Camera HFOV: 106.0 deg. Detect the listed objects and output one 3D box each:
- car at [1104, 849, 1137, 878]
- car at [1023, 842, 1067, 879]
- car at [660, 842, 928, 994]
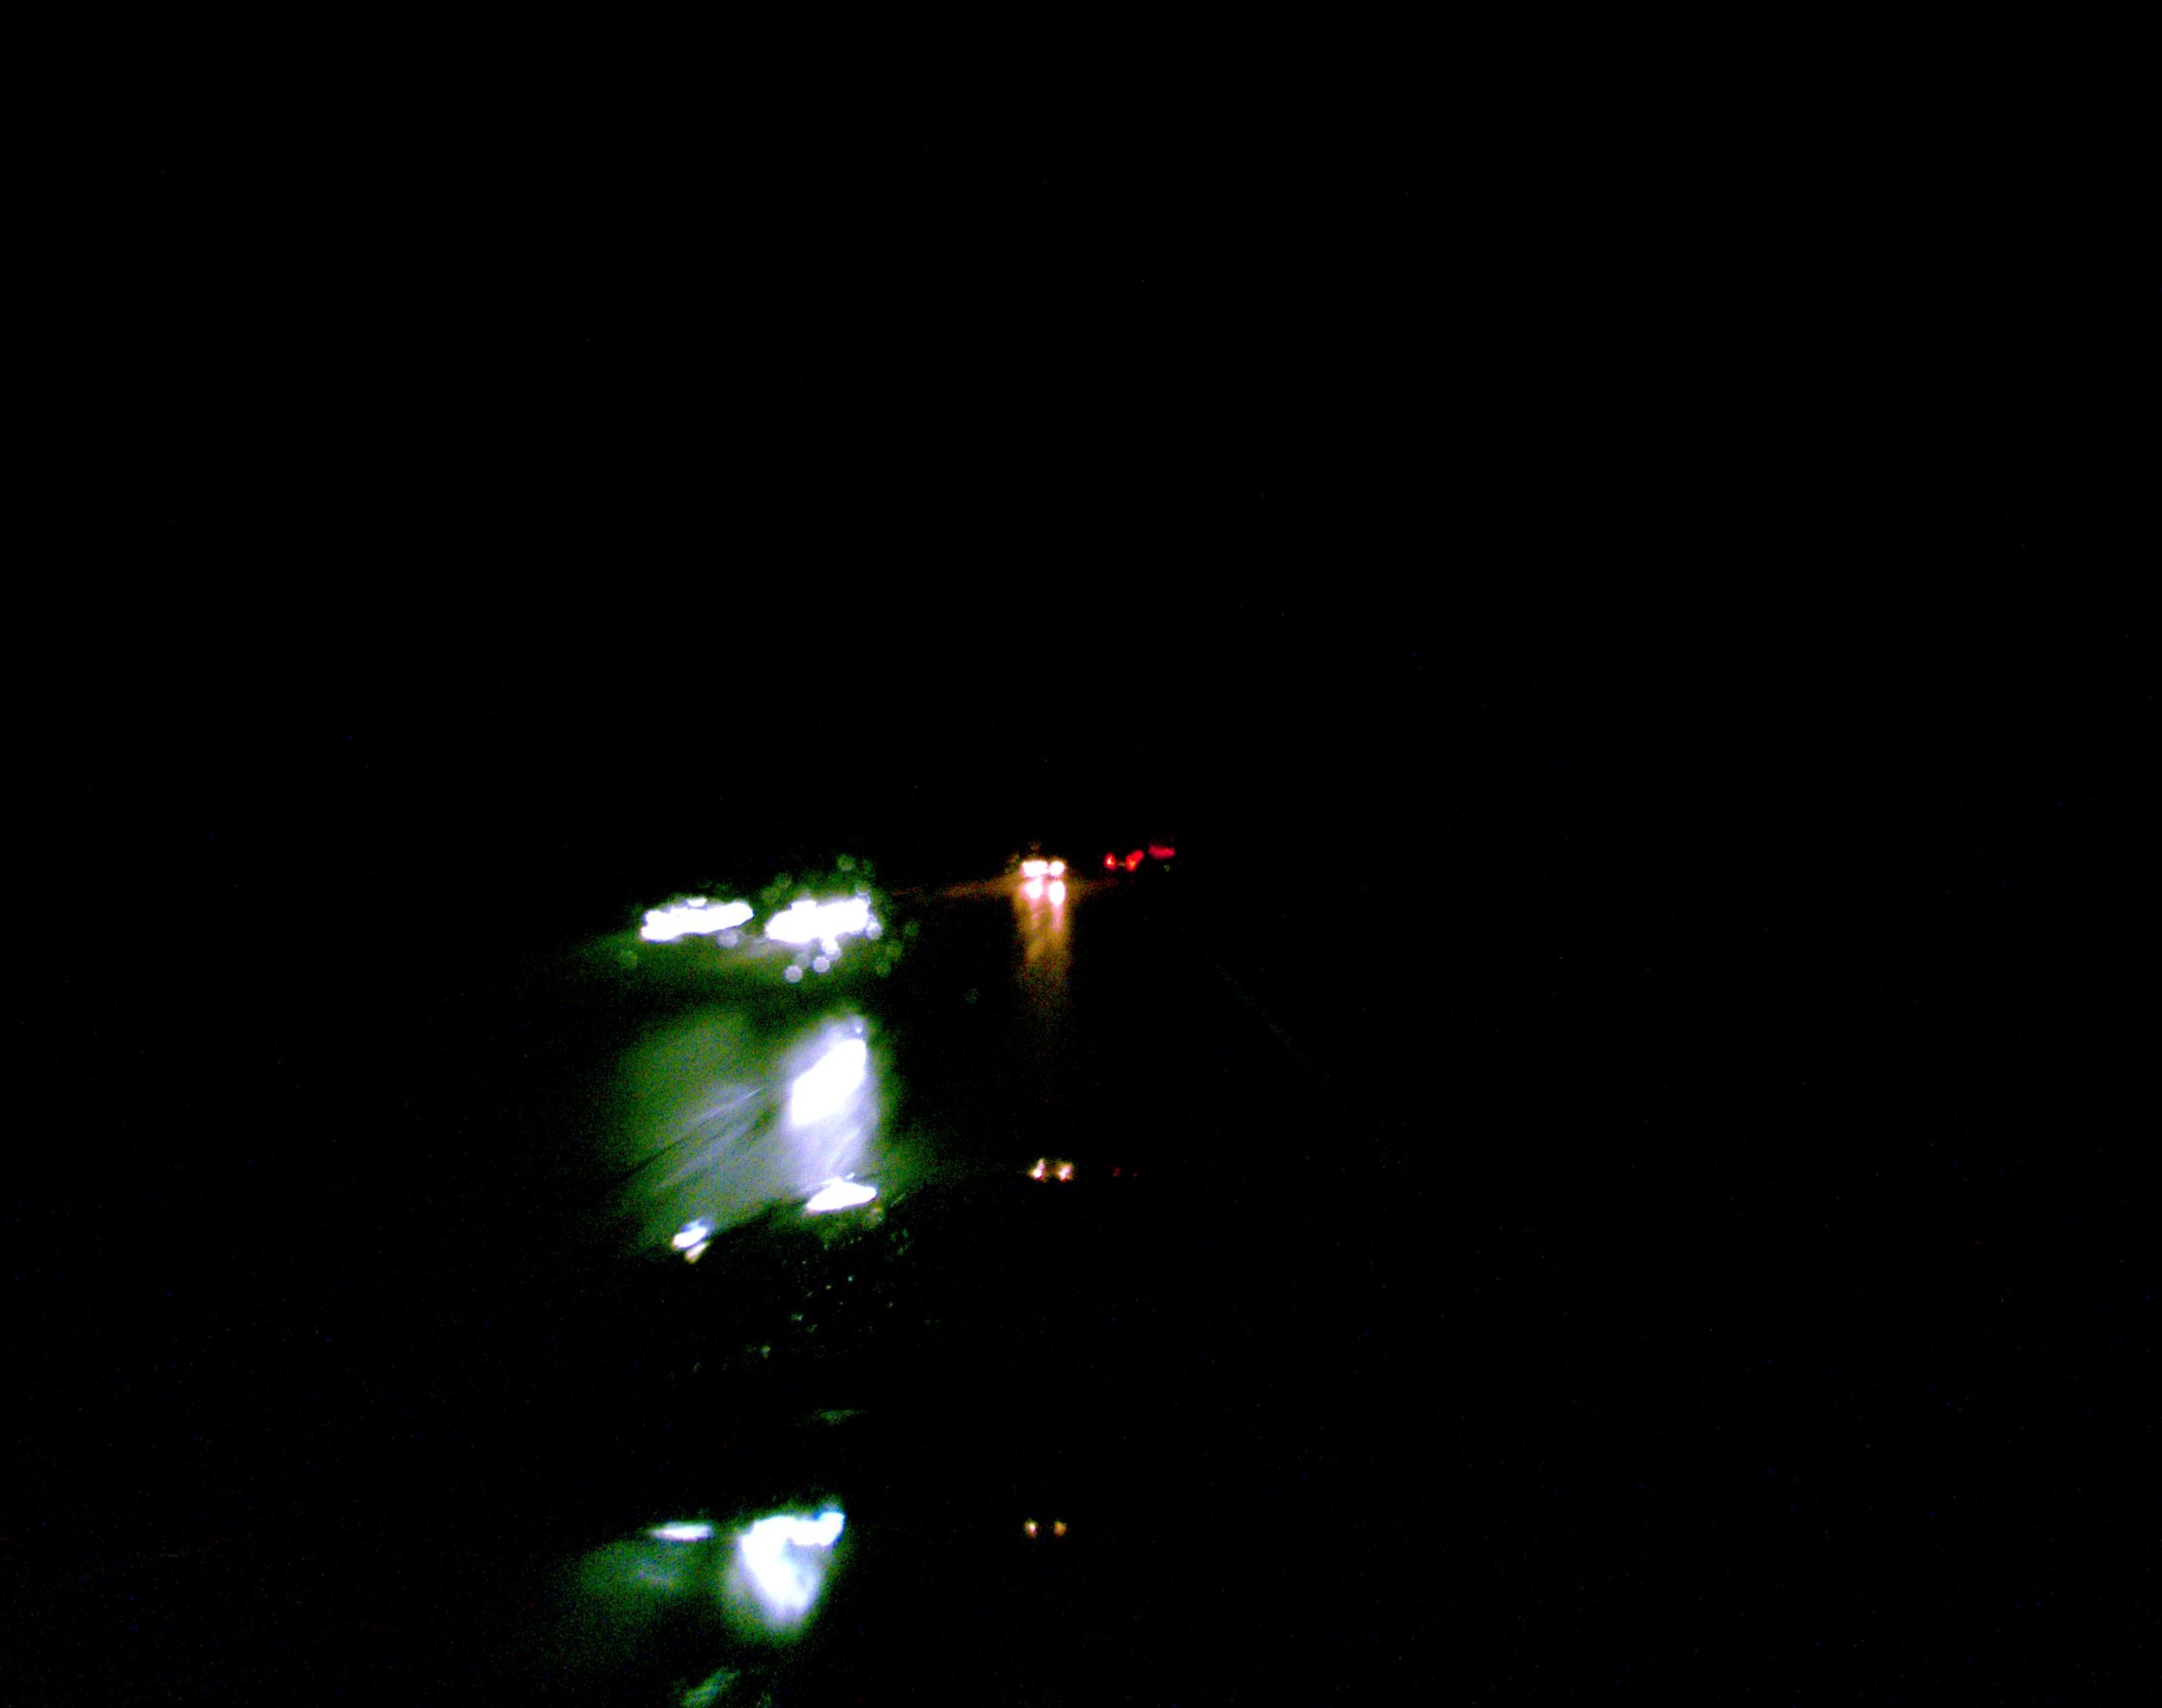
[{"bbox_3d":[2.562,0.574,51.773,1.833,1.740,4.006,-2,0,5],"label":"car"},{"bbox_3d":[-2.026,0.350,47.412,1.985,2.013,4.280,-3,0,4],"label":"car"},{"bbox_3d":[-3.499,0.696,10.840,1.986,1.624,4.002,-1,0,2],"label":"car"}]
